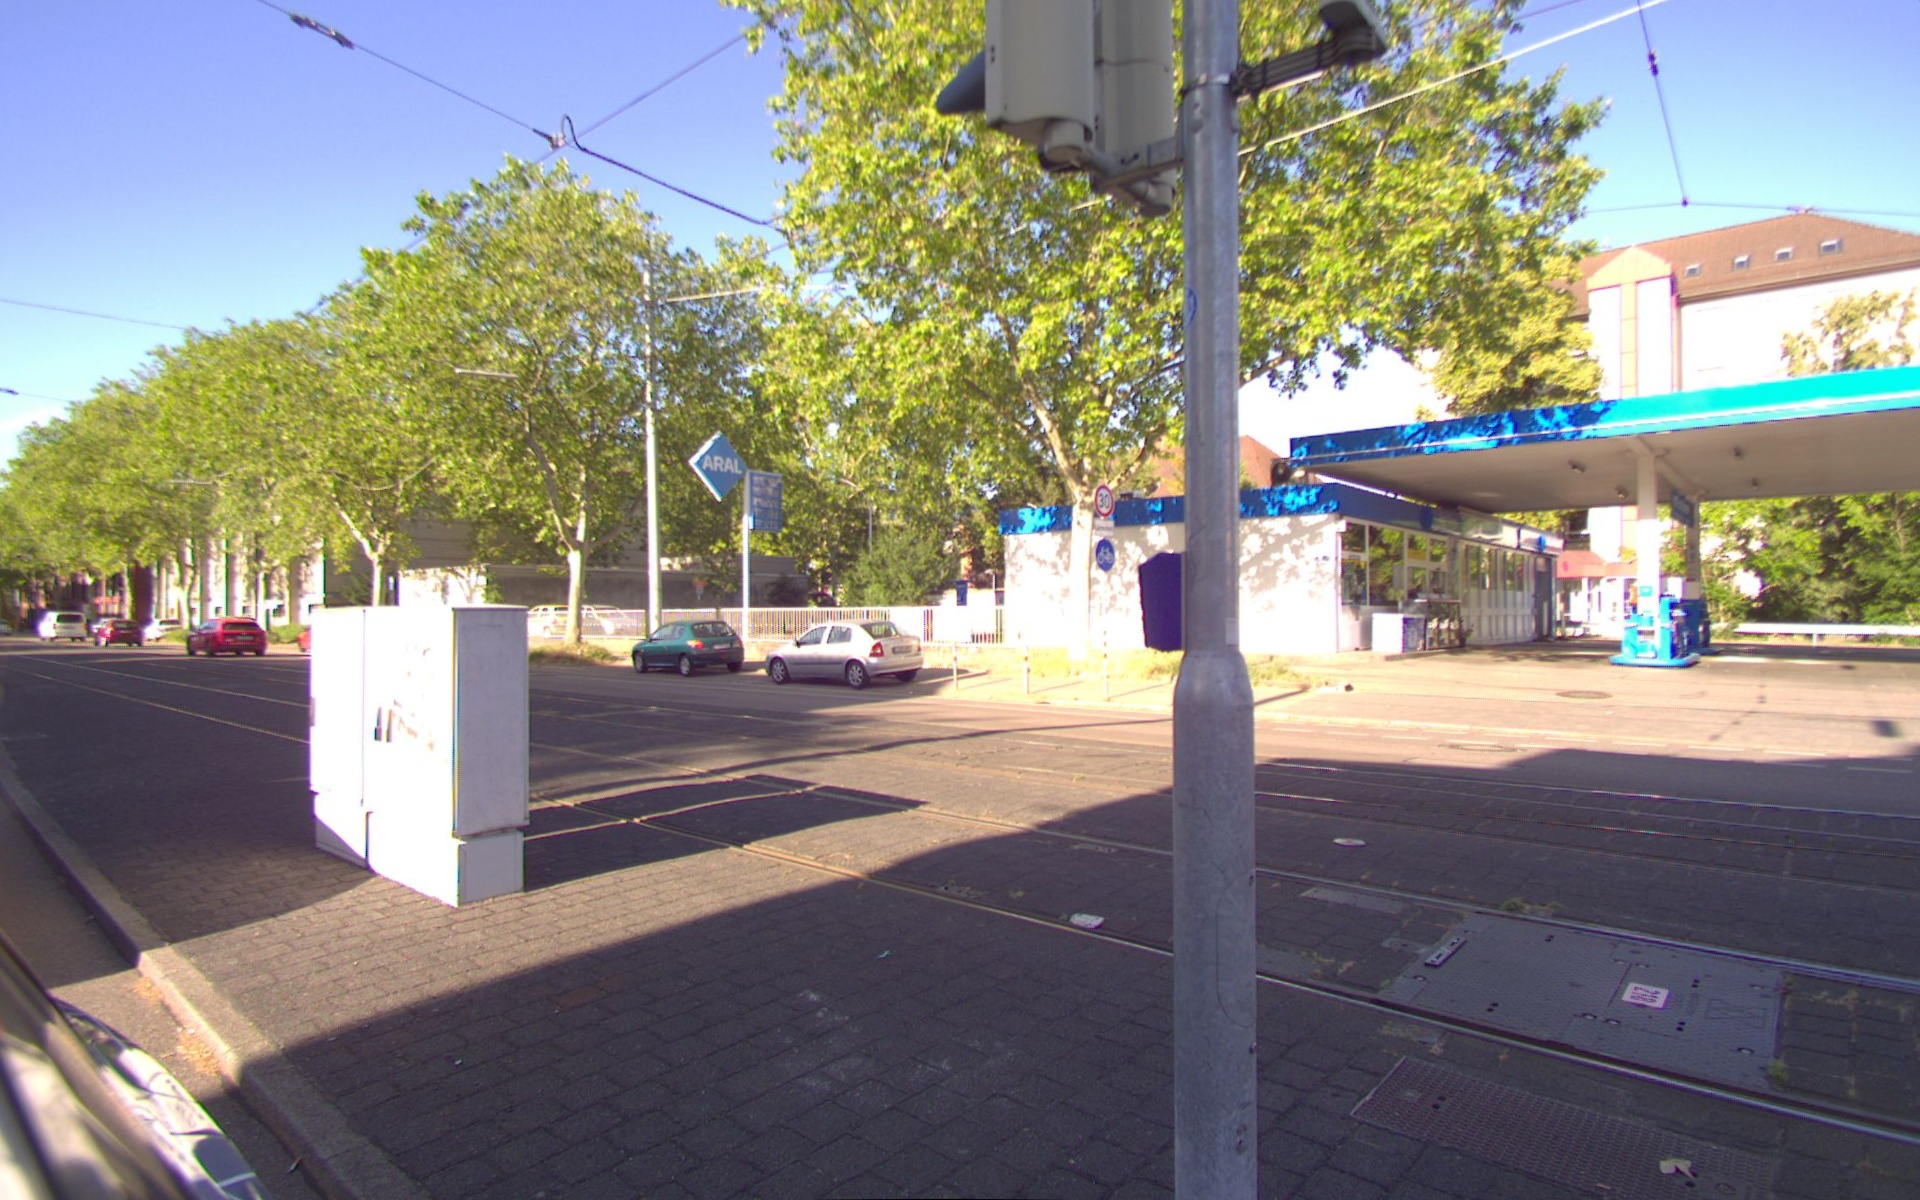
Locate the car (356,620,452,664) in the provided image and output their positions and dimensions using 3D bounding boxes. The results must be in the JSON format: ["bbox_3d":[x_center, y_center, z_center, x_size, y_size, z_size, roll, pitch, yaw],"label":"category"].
[{"bbox_3d":[-21.980,1.609,39.955,4.431,1.534,1.731,-1,3,40],"label":"car"}]

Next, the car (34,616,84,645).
[{"bbox_3d":[-60.139,2.031,67.545,4.390,1.860,1.827,-1,-2,39],"label":"car"}]

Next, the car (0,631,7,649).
[{"bbox_3d":[-88.057,3.648,91.972,3.998,1.507,1.741,-1,0,41],"label":"car"}]

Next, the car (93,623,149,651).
[{"bbox_3d":[-45.323,1.975,54.647,3.998,1.431,1.678,-1,-4,41],"label":"car"}]

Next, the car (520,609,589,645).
[{"bbox_3d":[-16.827,1.098,41.977,3.151,1.431,1.525,-1,0,44],"label":"car"}]

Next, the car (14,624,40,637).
[{"bbox_3d":[-103.227,3.395,111.985,3.998,1.420,1.678,-1,-2,41],"label":"car"}]

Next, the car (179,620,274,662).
[{"bbox_3d":[-28.434,1.565,39.180,4.761,1.534,1.887,-1,-2,40],"label":"car"}]

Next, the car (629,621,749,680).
[{"bbox_3d":[-7.235,1.302,26.921,3.253,1.431,1.526,-1,0,41],"label":"car"}]

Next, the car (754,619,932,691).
[{"bbox_3d":[-2.679,1.161,22.643,3.998,1.431,1.709,-1,0,41],"label":"car"}]

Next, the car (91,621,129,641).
[{"bbox_3d":[-66.811,2.419,79.558,3.998,1.569,1.678,-1,-2,41],"label":"car"}]

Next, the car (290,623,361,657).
[{"bbox_3d":[-29.018,1.802,46.231,3.998,1.480,1.678,-1,-2,41],"label":"car"}]

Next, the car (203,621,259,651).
[{"bbox_3d":[-40.735,1.983,56.545,3.998,1.587,1.678,-1,-2,41],"label":"car"}]

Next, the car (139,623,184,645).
[{"bbox_3d":[-53.810,2.294,68.210,3.998,1.420,1.678,-1,-2,41],"label":"car"}]

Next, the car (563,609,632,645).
[{"bbox_3d":[-15.372,1.107,42.848,3.151,1.431,1.525,-1,0,44],"label":"car"}]

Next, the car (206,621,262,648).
[{"bbox_3d":[-40.600,1.891,56.586,3.998,1.420,1.678,-1,-2,41],"label":"car"}]
